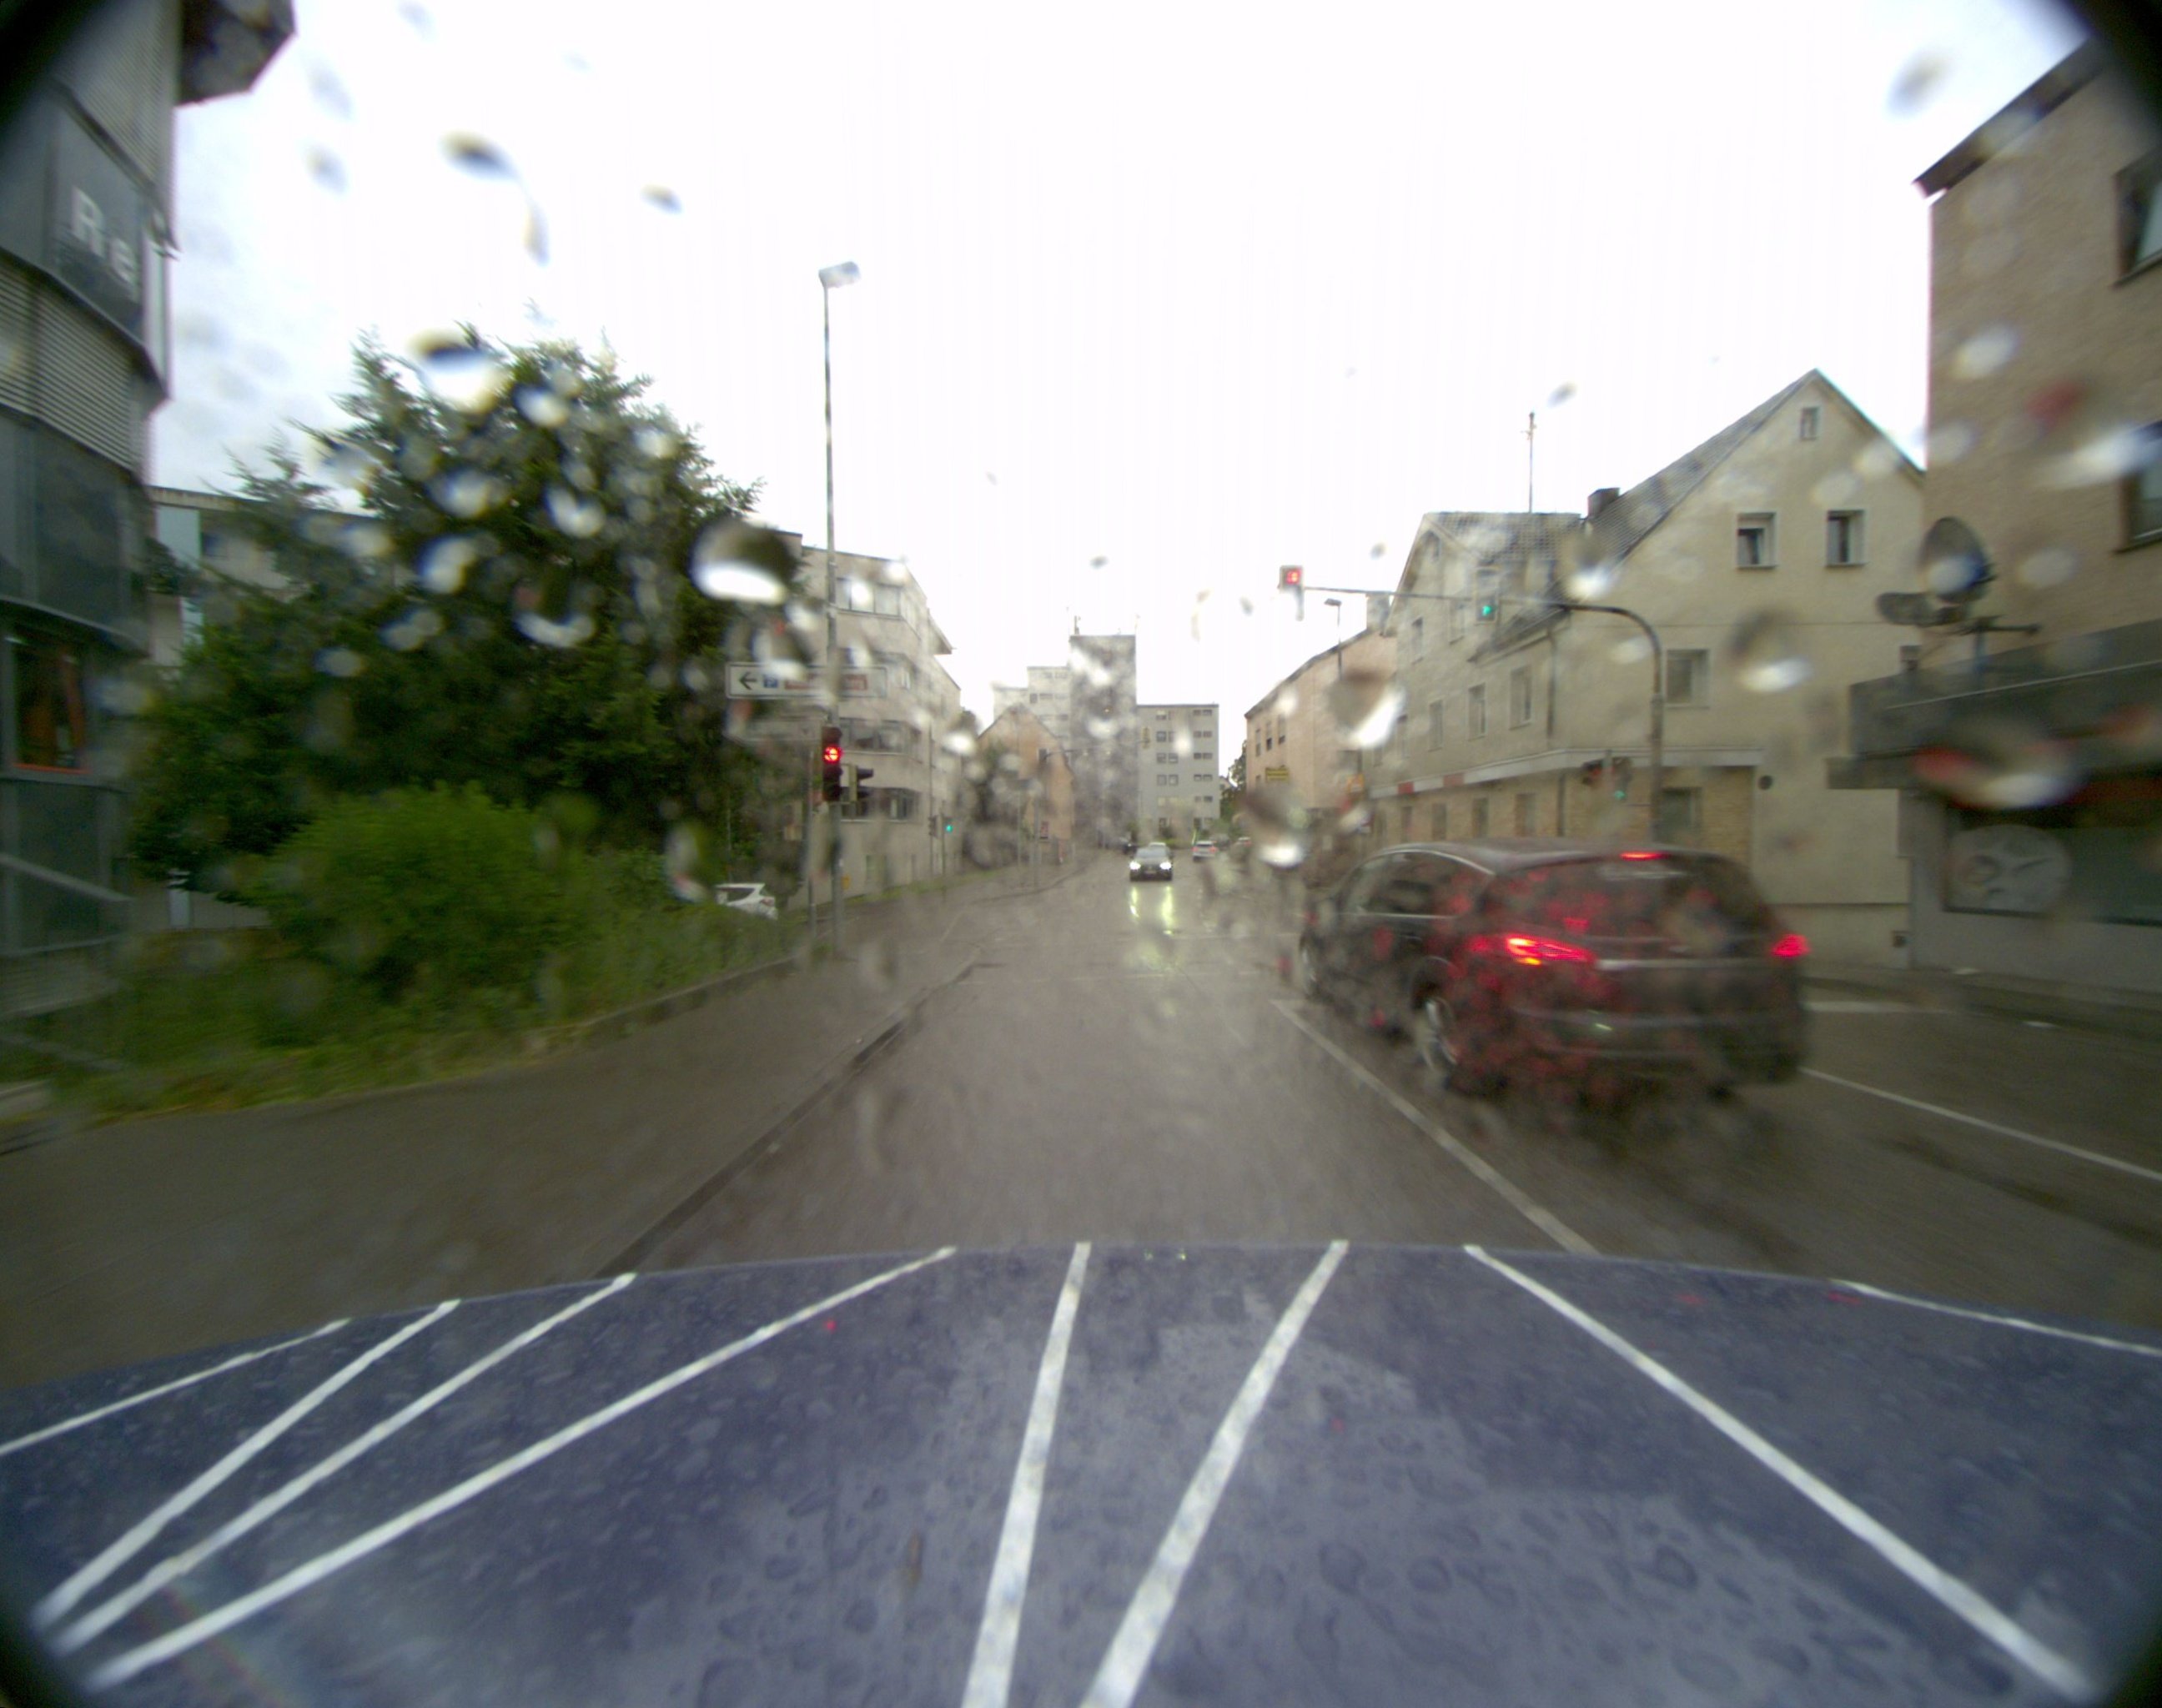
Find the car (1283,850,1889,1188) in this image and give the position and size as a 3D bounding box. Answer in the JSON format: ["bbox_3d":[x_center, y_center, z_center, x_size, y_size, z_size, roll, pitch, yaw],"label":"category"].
[{"bbox_3d":[3.056,0.826,5.876,1.820,1.635,4.275,-1,0,0],"label":"car"}]

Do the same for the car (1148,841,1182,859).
[{"bbox_3d":[6.779,-0.333,61.073,1.684,1.413,4.006,0,0,22],"label":"car"}]

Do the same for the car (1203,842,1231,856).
[{"bbox_3d":[14.271,-0.540,79.594,1.683,1.452,4.007,0,0,29],"label":"car"}]

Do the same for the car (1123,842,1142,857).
[{"bbox_3d":[5.153,-0.425,75.727,1.686,1.452,4.000,-1,0,1],"label":"car"}]

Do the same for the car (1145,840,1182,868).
[{"bbox_3d":[5.329,-0.011,48.550,1.997,1.652,4.003,-1,0,11],"label":"car"}]

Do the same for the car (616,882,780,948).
[{"bbox_3d":[-10.456,1.612,21.051,3.842,1.443,1.787,-2,2,-23],"label":"car"}]

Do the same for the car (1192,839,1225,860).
[{"bbox_3d":[10.310,-0.396,61.352,1.959,1.527,4.005,-1,2,20],"label":"car"}]

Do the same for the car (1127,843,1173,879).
[{"bbox_3d":[3.151,0.310,35.507,1.820,1.562,4.276,-1,0,1],"label":"car"}]
